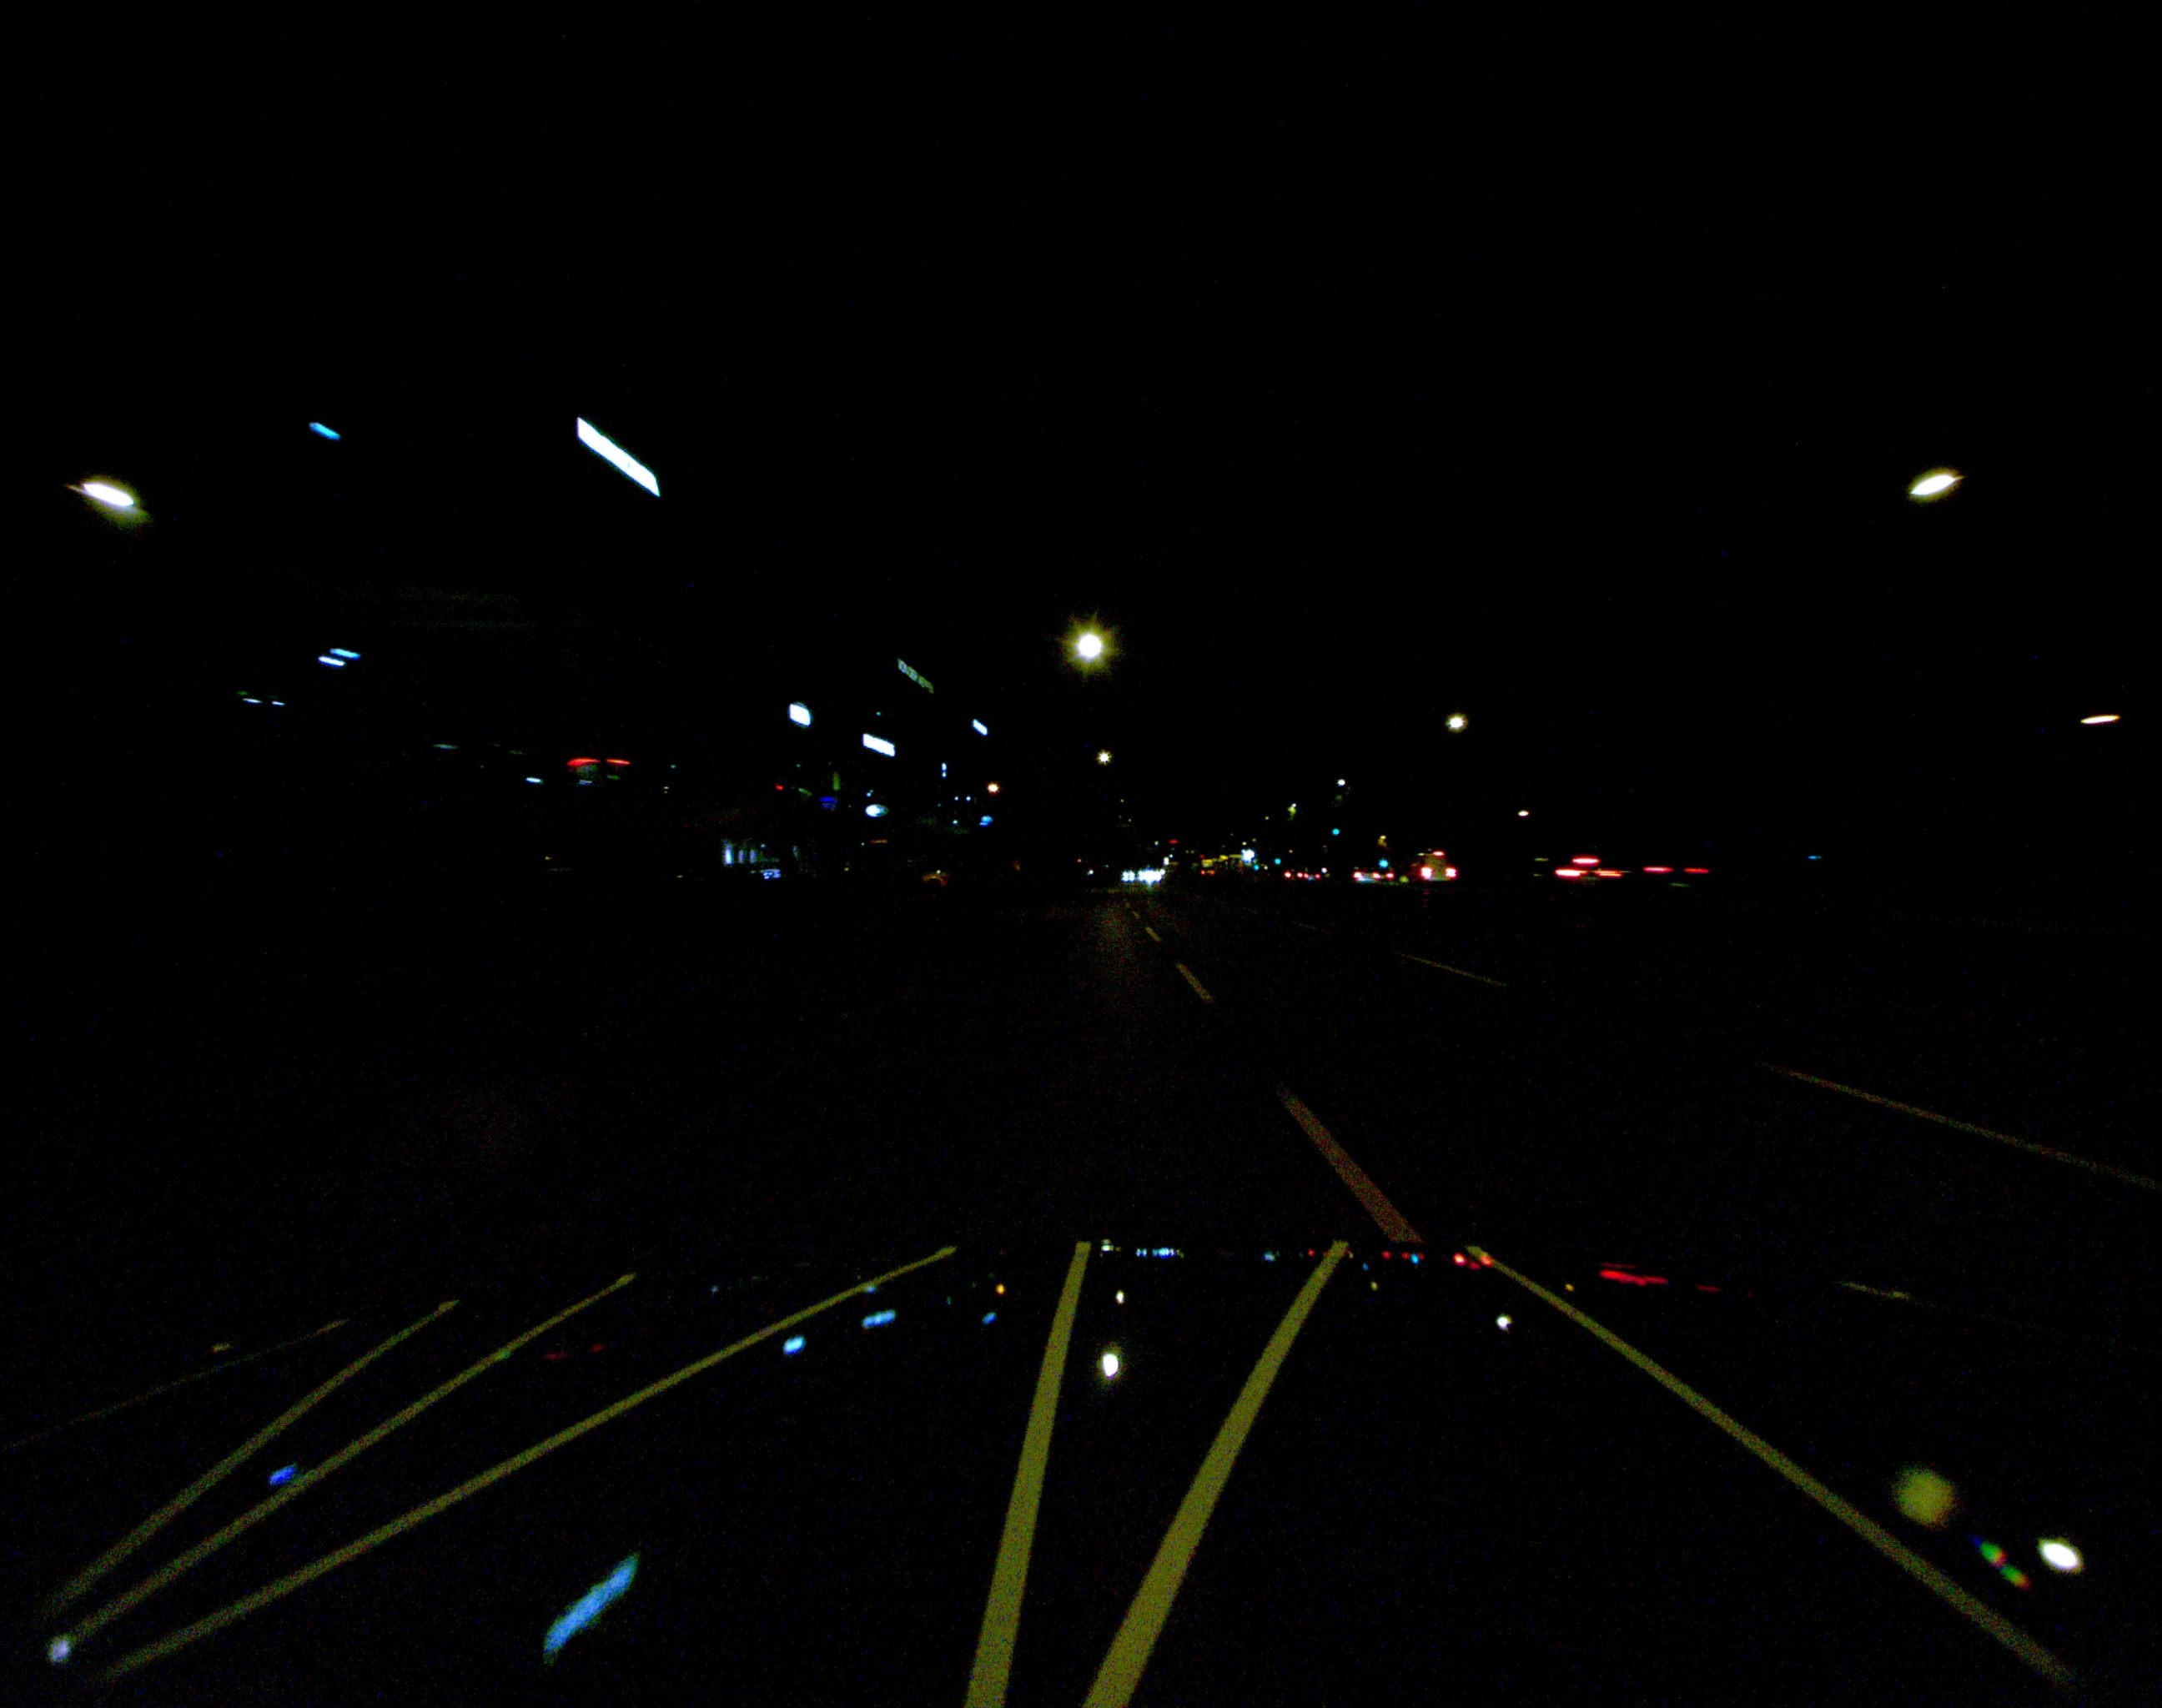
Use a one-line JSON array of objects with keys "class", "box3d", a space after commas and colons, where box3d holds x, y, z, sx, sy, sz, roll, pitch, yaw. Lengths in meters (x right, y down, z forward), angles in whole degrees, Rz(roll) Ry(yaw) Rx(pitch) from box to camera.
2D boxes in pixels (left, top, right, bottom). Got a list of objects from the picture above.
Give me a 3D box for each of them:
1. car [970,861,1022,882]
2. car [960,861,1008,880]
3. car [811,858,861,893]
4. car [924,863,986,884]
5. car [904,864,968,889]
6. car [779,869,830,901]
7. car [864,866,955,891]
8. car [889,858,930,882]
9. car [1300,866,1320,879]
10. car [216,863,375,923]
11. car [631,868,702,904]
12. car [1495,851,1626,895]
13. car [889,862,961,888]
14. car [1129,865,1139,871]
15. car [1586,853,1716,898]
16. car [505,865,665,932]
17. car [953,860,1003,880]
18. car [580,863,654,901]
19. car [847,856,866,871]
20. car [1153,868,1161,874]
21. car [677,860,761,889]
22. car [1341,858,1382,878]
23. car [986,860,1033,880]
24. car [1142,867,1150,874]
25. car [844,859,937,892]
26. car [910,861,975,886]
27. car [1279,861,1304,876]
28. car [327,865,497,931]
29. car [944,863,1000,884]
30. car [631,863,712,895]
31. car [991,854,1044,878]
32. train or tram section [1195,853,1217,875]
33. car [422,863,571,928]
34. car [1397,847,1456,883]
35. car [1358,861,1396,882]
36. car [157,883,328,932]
[{"class": "car", "box3d": [-7.621, 1.548, 68.446, 4.474, 1.538, 1.769, 4, 0, -5]}, {"class": "car", "box3d": [-8.035, 1.363, 62.926, 3.815, 1.444, 1.716, 2, -1, -9]}, {"class": "car", "box3d": [-14.019, 1.167, 43.416, 1.591, 1.786, 3.859, -1, 2, -36]}, {"class": "car", "box3d": [-8.699, 1.366, 52.359, 4.003, 1.383, 1.824, 2, -2, -18]}, {"class": "car", "box3d": [-8.952, 1.352, 46.917, 3.616, 1.425, 1.677, -1, 0, -19]}, {"class": "car", "box3d": [-14.336, 1.536, 39.245, 1.781, 1.401, 4.328, -1, 1, -30]}, {"class": "car", "box3d": [-9.384, 1.322, 41.553, 4.649, 1.256, 1.944, 0, -2, -20]}, {"class": "car", "box3d": [-14.270, 1.342, 63.086, 1.838, 1.906, 4.816, -1, 0, -32]}, {"class": "car", "box3d": [27.737, 2.224, 92.073, 1.663, 1.507, 3.913, -1, 0, 6]}, {"class": "car", "box3d": [-28.254, 1.372, 27.439, 3.716, 2.002, 1.747, -1, 0, -6]}, {"class": "car", "box3d": [-20.296, 1.515, 37.352, 1.637, 1.505, 3.415, 0, 2, -1]}, {"class": "car", "box3d": [17.730, 0.672, 28.435, 1.871, 1.420, 4.957, -2, 0, 1]}, {"class": "car", "box3d": [-9.111, 1.224, 44.264, 4.002, 1.415, 1.907, 0, -2, -13]}, {"class": "car", "box3d": [13.142, 3.484, 188.855, 1.946, 1.299, 3.909, 1, -1, 11]}, {"class": "car", "box3d": [21.000, 0.745, 28.275, 1.865, 1.505, 4.617, 1, 0, 8]}, {"class": "car", "box3d": [-17.061, 1.433, 26.586, 1.999, 2.001, 5.627, -1, 0, -1]}, {"class": "car", "box3d": [-8.223, 1.274, 60.485, 3.780, 1.370, 1.715, 4, -1, -9]}, {"class": "car", "box3d": [-22.641, 1.335, 37.231, 1.637, 1.632, 3.299, 2, 1, -1]}, {"class": "car", "box3d": [-26.749, 1.099, 90.533, 2.001, 1.652, 4.661, -1, 0, -18]}, {"class": "car", "box3d": [19.002, 4.264, 190.758, 1.907, 1.608, 3.721, -1, 0, 6]}, {"class": "car", "box3d": [-21.740, 1.210, 45.681, 4.328, 1.644, 1.653, -1, 0, -33]}, {"class": "car", "box3d": [20.486, 0.998, 55.721, 1.624, 1.431, 4.339, 1, 0, 3]}, {"class": "car", "box3d": [-7.011, 1.544, 74.576, 4.474, 1.677, 1.999, 4, -1, -6]}, {"class": "car", "box3d": [17.249, 4.320, 201.098, 1.711, 1.562, 4.000, -1, 0, 1]}, {"class": "car", "box3d": [-9.038, 1.009, 36.368, 4.135, 1.412, 1.875, -2, 0, -9]}, {"class": "car", "box3d": [-9.031, 1.274, 49.567, 4.003, 1.461, 1.831, 2, -1, -15]}, {"class": "car", "box3d": [23.446, 1.620, 84.774, 1.789, 1.488, 4.174, -1, 0, 1]}, {"class": "car", "box3d": [-22.390, 1.391, 25.714, 1.956, 1.982, 4.408, -1, 0, -2]}, {"class": "car", "box3d": [-8.333, 1.467, 57.961, 4.037, 1.365, 1.824, 3, -1, -12]}, {"class": "car", "box3d": [-22.133, 1.322, 41.159, 3.486, 1.576, 1.749, 1, 2, 5]}, {"class": "car", "box3d": [-7.683, 1.457, 92.186, 6.039, 2.514, 2.281, 5, -2, -12]}, {"class": "train or tram section", "box3d": [23.426, 1.901, 142.751, 2.764, 3.804, 18.681, -1, -1, 6]}, {"class": "car", "box3d": [-19.968, 1.339, 26.252, 1.816, 1.982, 4.408, -1, 0, -2]}, {"class": "car", "box3d": [27.468, 0.823, 60.673, 2.149, 2.655, 6.966, 2, 0, 7]}, {"class": "car", "box3d": [24.518, 1.435, 63.133, 1.783, 1.703, 4.228, -1, 0, 4]}, {"class": "car", "box3d": [-27.249, 1.718, 24.781, 3.731, 1.441, 1.616, 0, 1, 0]}]
